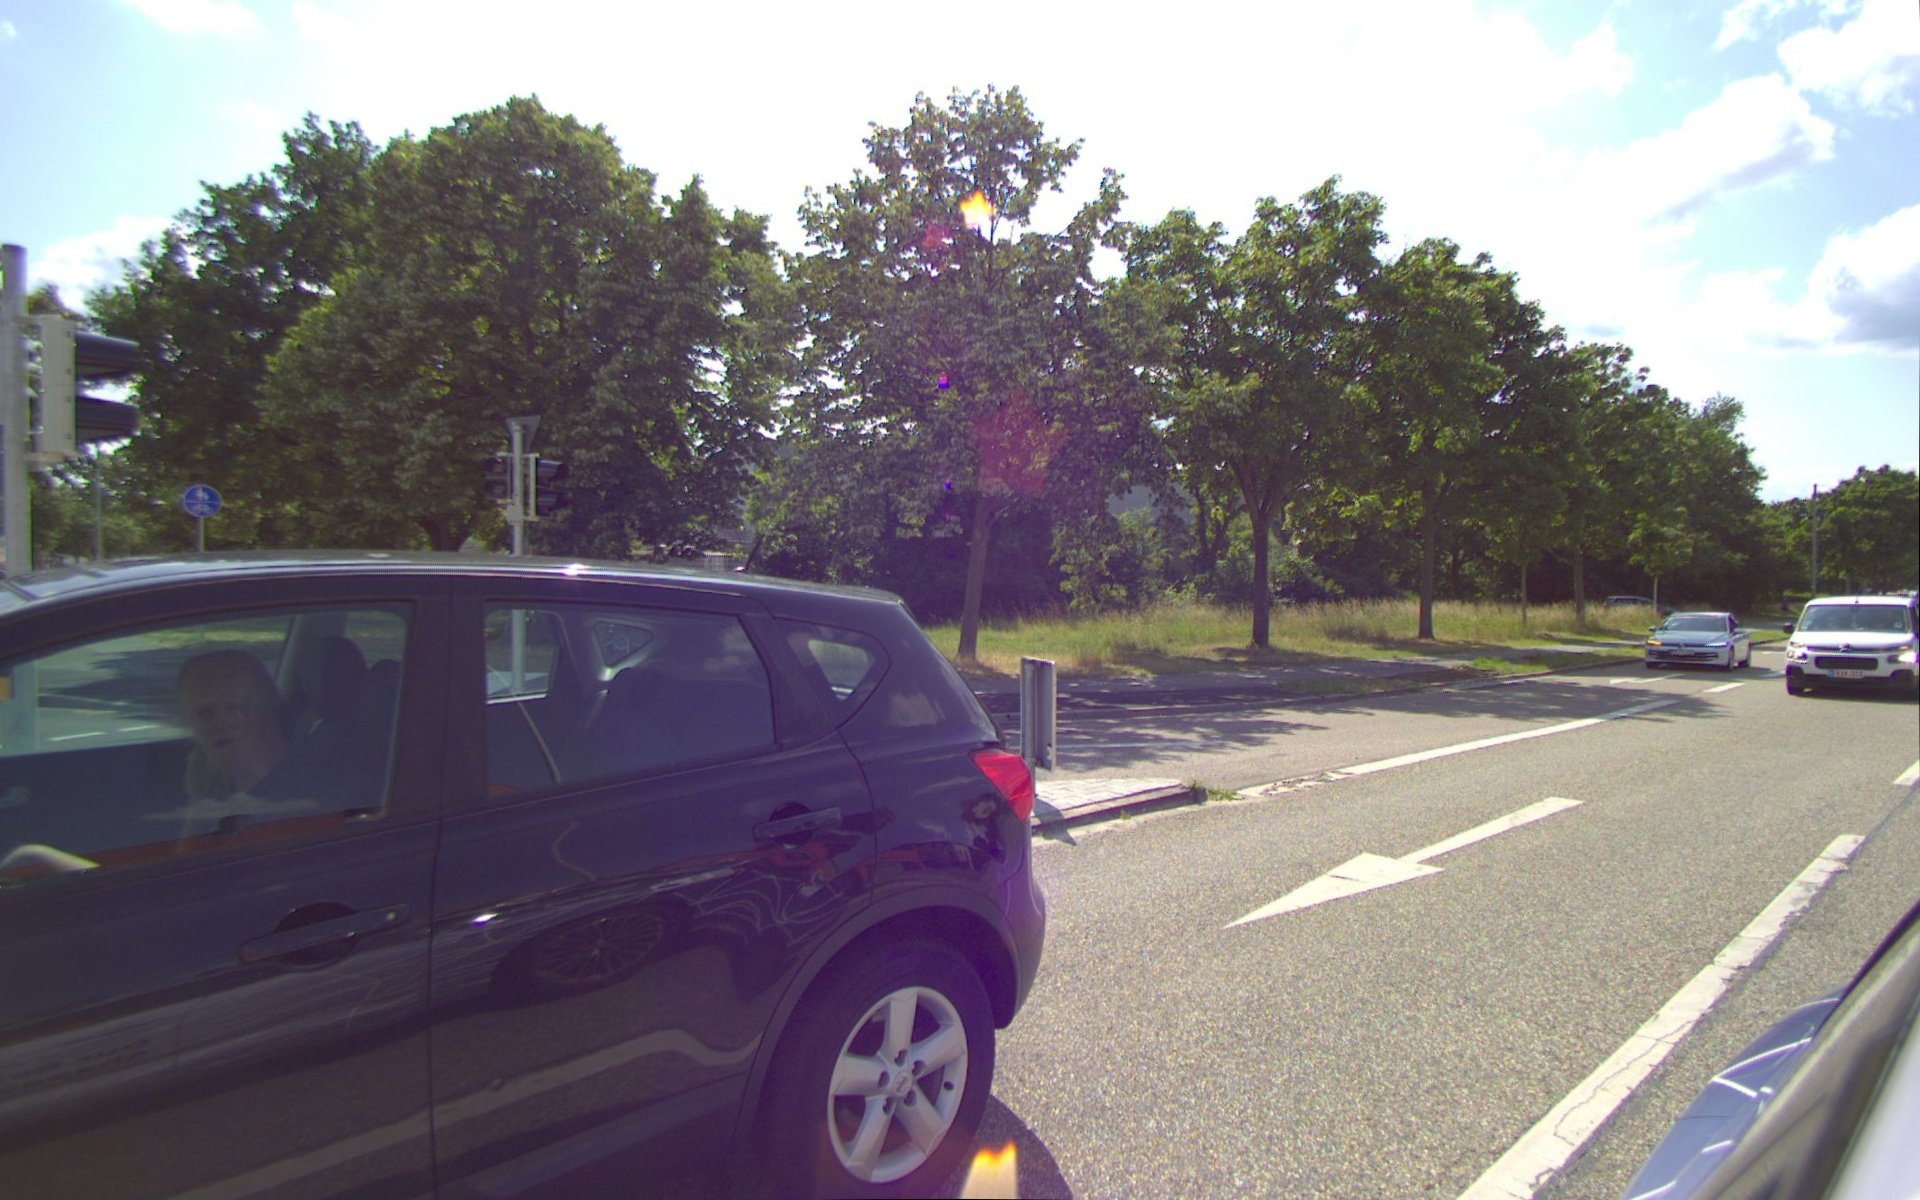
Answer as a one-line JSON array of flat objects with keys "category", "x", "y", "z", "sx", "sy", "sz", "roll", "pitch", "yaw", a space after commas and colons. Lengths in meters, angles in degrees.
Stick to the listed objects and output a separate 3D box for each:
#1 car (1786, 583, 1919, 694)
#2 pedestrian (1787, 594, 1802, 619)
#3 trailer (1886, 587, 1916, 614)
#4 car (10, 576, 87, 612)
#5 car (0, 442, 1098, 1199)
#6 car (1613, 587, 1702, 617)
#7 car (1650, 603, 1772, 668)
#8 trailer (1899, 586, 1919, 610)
[{"category": "car", "x": 16.803, "y": 0.642, "z": 18.585, "sx": 4.636, "sy": 1.808, "sz": 1.932, "roll": 0, "pitch": -2, "yaw": -43}, {"category": "pedestrian", "x": 62.303, "y": 0.486, "z": 75.550, "sx": 0.728, "sy": 1.817, "sz": 0.717, "roll": -1, "pitch": -1, "yaw": -45}, {"category": "trailer", "x": 87.878, "y": 0.049, "z": 94.480, "sx": 1.953, "sy": 2.380, "sz": 4.533, "roll": 2, "pitch": 2, "yaw": 44}, {"category": "car", "x": -32.530, "y": -0.199, "z": 36.103, "sx": 1.884, "sy": 1.193, "sz": 3.768, "roll": -1, "pitch": 0, "yaw": -44}, {"category": "car", "x": -1.689, "y": 0.598, "z": 2.086, "sx": 3.932, "sy": 1.572, "sz": 1.801, "roll": -1, "pitch": -1, "yaw": -43}, {"category": "car", "x": 42.142, "y": 0.083, "z": 61.200, "sx": 4.162, "sy": 1.511, "sz": 1.757, "roll": 5, "pitch": 1, "yaw": 42}, {"category": "car", "x": 19.292, "y": 0.851, "z": 25.927, "sx": 4.021, "sy": 1.505, "sz": 1.735, "roll": 0, "pitch": 0, "yaw": -42}, {"category": "trailer", "x": 102.545, "y": -0.210, "z": 108.777, "sx": 4.704, "sy": 2.393, "sz": 1.996, "roll": -1, "pitch": 5, "yaw": -45}]
